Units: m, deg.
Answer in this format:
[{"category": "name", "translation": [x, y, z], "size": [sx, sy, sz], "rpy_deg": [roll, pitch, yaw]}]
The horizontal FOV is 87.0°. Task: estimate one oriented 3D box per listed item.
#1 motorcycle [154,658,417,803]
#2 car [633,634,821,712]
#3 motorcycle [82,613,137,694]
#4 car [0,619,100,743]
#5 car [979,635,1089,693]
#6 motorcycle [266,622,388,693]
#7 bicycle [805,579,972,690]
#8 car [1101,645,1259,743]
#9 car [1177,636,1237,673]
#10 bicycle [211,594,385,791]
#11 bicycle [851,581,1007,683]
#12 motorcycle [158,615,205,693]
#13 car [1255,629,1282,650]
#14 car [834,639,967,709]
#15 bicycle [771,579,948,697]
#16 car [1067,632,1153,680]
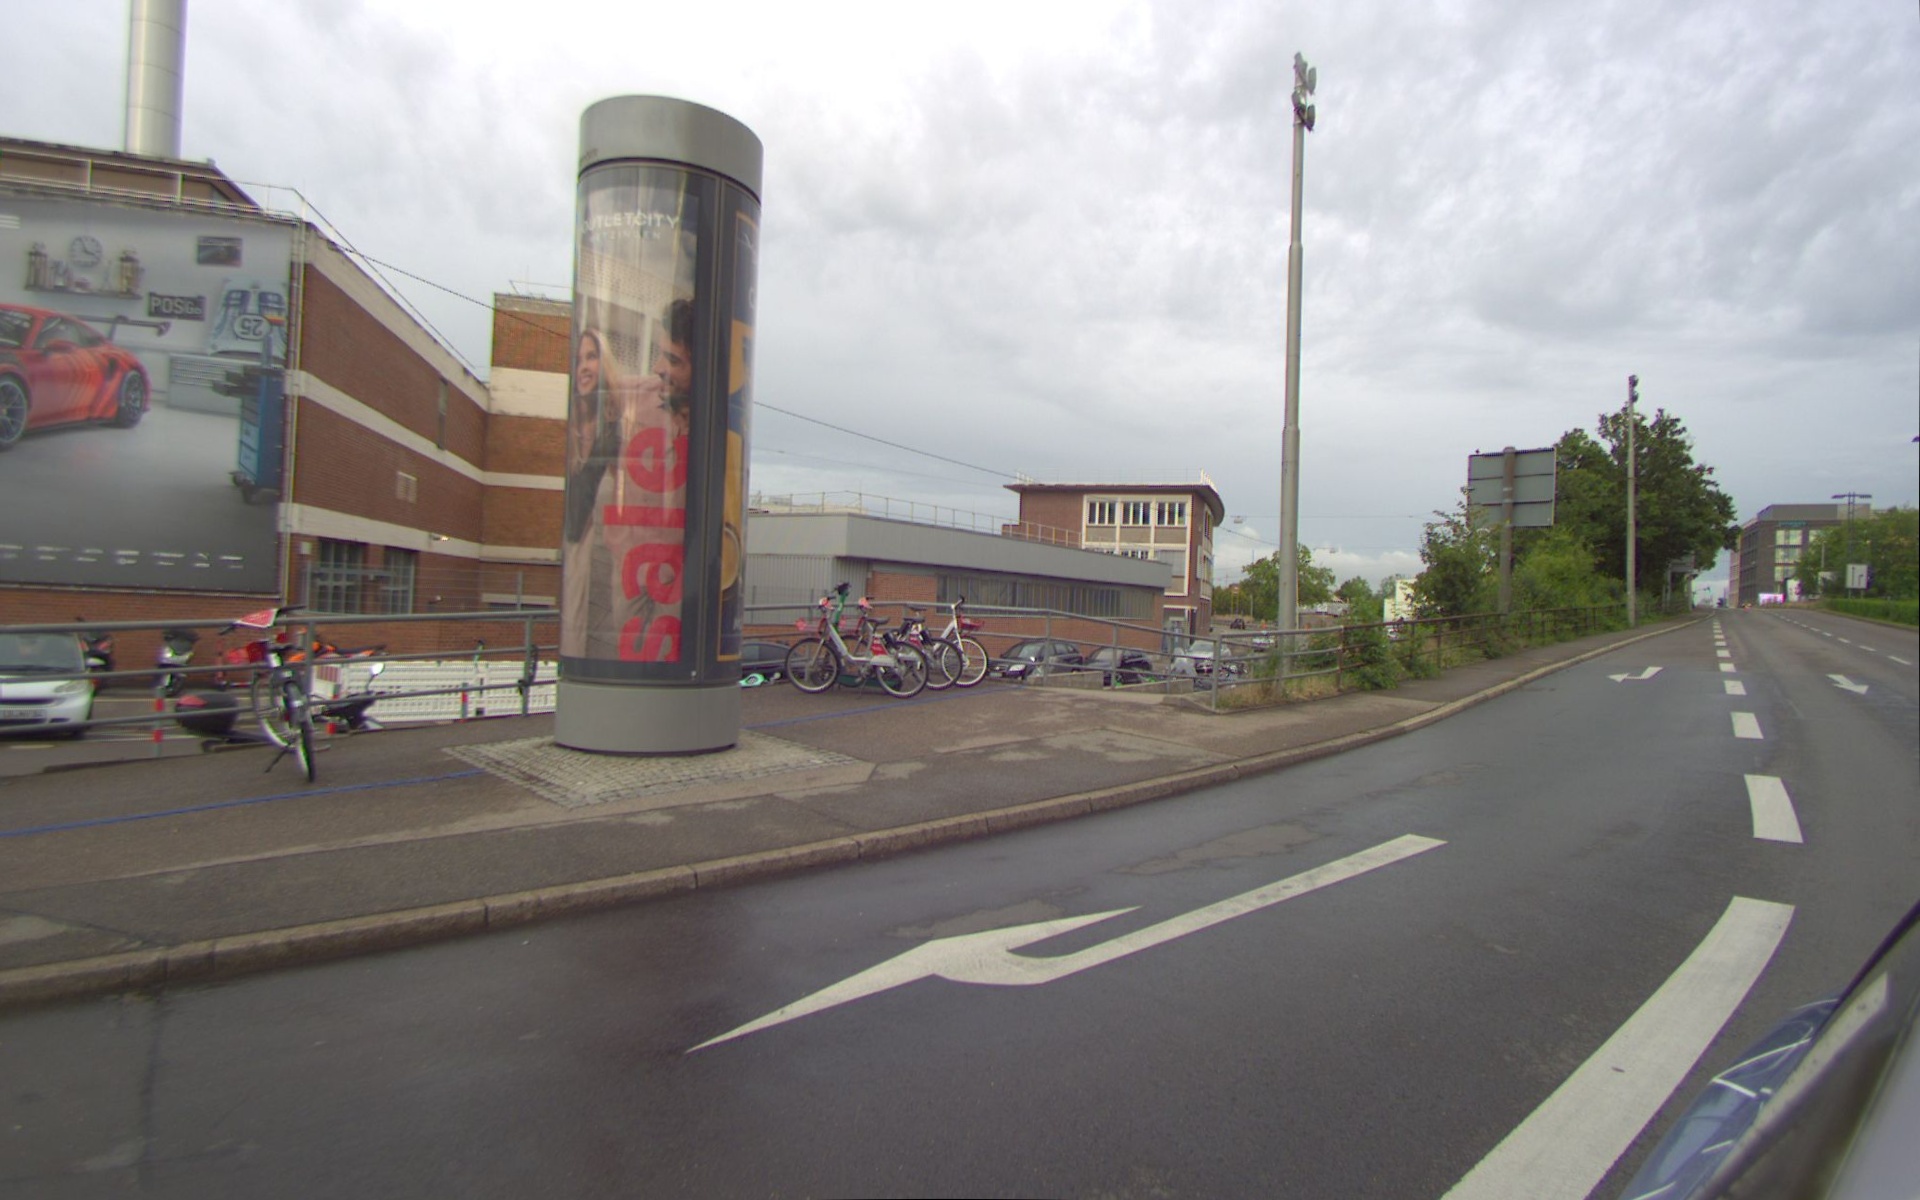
[{"category": "motorcycle", "translation": [-5.696, 1.049, 8.635], "size": [0.696, 1.002, 1.726], "rpy_deg": [1, 0, 38]}, {"category": "car", "translation": [-5.383, 1.670, 23.871], "size": [1.694, 1.630, 4.204], "rpy_deg": [-1, -3, 37]}, {"category": "motorcycle", "translation": [-16.159, 0.985, 19.257], "size": [0.675, 1.325, 2.022], "rpy_deg": [3, 2, -38]}, {"category": "car", "translation": [-13.913, 1.124, 15.002], "size": [1.663, 1.500, 3.557], "rpy_deg": [4, -1, -40]}, {"category": "car", "translation": [2.575, 2.092, 34.229], "size": [1.629, 1.652, 4.371], "rpy_deg": [1, 1, 37]}, {"category": "motorcycle", "translation": [-12.993, 1.182, 20.842], "size": [1.943, 1.325, 0.932], "rpy_deg": [3, 1, -24]}, {"category": "bicycle", "translation": [-0.841, 0.393, 12.139], "size": [1.900, 1.239, 0.598], "rpy_deg": [1, 1, 8]}, {"category": "car", "translation": [4.513, 1.796, 20.414], "size": [1.694, 1.574, 3.805], "rpy_deg": [1, 1, 37]}, {"category": "car", "translation": [12.405, 2.679, 50.654], "size": [1.692, 1.574, 3.809], "rpy_deg": [1, 1, 35]}, {"category": "bicycle", "translation": [-4.754, 0.582, 7.216], "size": [1.799, 1.176, 0.583], "rpy_deg": [3, 2, 41]}, {"category": "bicycle", "translation": [-0.403, 0.374, 12.964], "size": [1.910, 1.192, 0.595], "rpy_deg": [2, 1, 23]}, {"category": "motorcycle", "translation": [-15.261, 1.042, 19.863], "size": [0.562, 1.325, 1.873], "rpy_deg": [3, 2, -34]}, {"category": "car", "translation": [23.285, 2.931, 76.367], "size": [1.648, 1.413, 3.971], "rpy_deg": [0, 0, 21]}, {"category": "car", "translation": [-1.631, 2.049, 28.953], "size": [1.694, 1.648, 3.878], "rpy_deg": [1, 1, 37]}, {"category": "bicycle", "translation": [-1.132, 0.410, 11.497], "size": [1.901, 1.239, 0.598], "rpy_deg": [2, 1, 10]}, {"category": "car", "translation": [5.805, 2.098, 38.867], "size": [1.694, 1.574, 3.805], "rpy_deg": [1, 1, 37]}]
